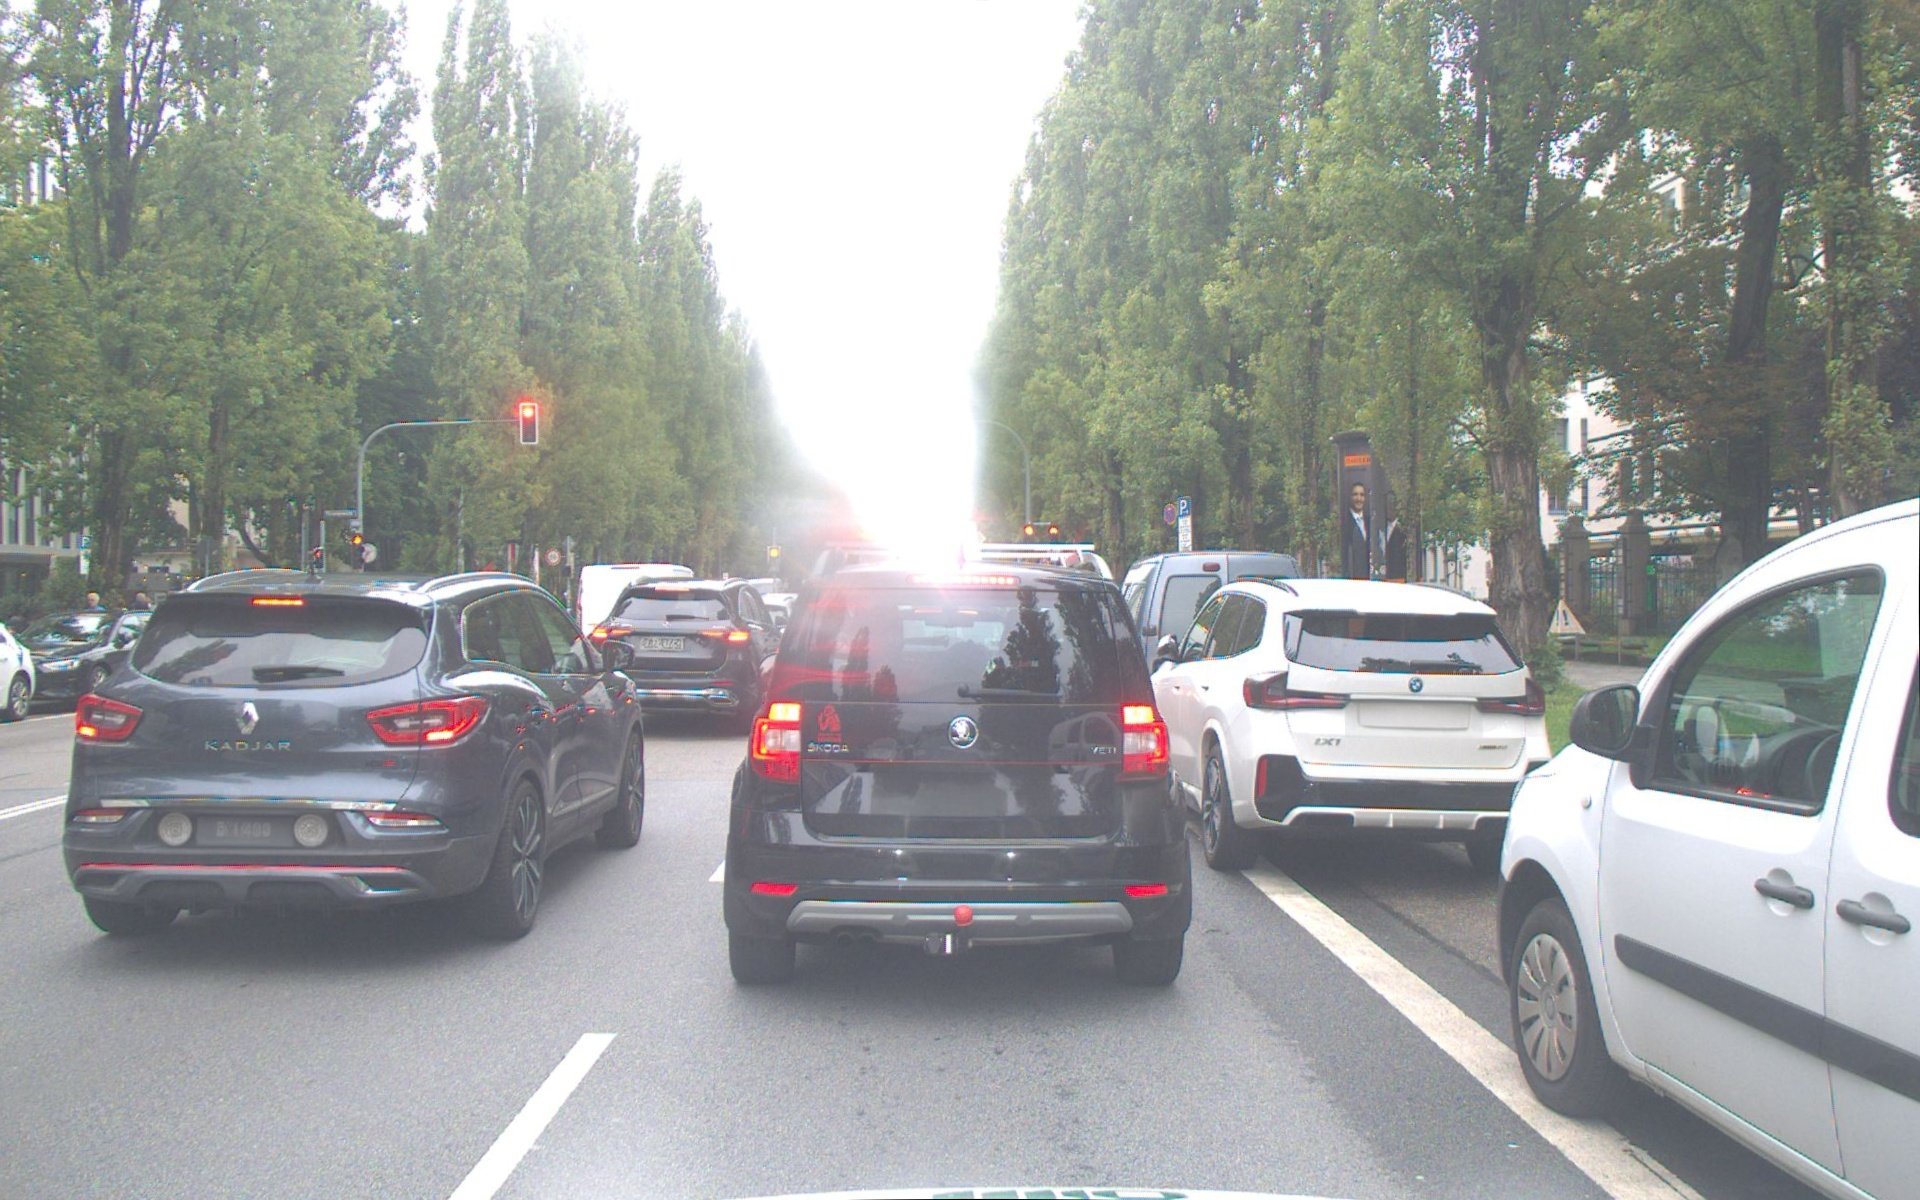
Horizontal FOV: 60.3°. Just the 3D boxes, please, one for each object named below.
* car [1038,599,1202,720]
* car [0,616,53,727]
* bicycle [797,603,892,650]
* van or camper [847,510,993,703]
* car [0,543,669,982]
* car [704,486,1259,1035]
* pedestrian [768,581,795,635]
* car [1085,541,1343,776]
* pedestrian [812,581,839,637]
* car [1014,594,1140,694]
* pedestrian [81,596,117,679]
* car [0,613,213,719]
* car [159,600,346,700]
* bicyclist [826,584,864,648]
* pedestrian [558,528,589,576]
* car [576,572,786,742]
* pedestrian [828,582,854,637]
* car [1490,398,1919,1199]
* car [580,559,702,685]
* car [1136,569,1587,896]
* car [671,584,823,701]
[{"bbox_3d":[2.024,0.713,21.761,1.700,1.411,3.561,-1,1,-2],"label":"car"},{"bbox_3d":[-13.113,0.974,20.526,1.591,1.413,4.163,-3,0,-4],"label":"car"},{"bbox_3d":[-3.180,0.735,45.735,2.481,1.259,0.813,-1,0,8],"label":"bicycle"},{"bbox_3d":[-0.650,0.066,24.332,1.936,2.593,4.022,-1,0,-3],"label":"van or camper"},{"bbox_3d":[-2.714,0.598,8.292,1.798,1.613,4.184,1,0,-1],"label":"car"},{"bbox_3d":[0.026,0.534,7.540,1.818,1.801,3.999,1,0,-2],"label":"car"},{"bbox_3d":[-6.911,0.303,64.092,0.867,2.049,1.013,-1,0,1],"label":"pedestrian"},{"bbox_3d":[2.256,0.462,15.692,1.700,1.928,4.023,-1,1,-2],"label":"car"},{"bbox_3d":[-4.960,0.325,61.189,0.867,2.049,1.013,-1,0,1],"label":"pedestrian"},{"bbox_3d":[1.850,0.665,27.059,1.700,1.501,3.561,-1,1,-2],"label":"car"},{"bbox_3d":[-16.403,0.707,31.506,0.455,1.555,0.395,-1,0,-1],"label":"pedestrian"},{"bbox_3d":[-13.401,0.973,26.024,1.591,1.413,4.163,-3,0,-4],"label":"car"},{"bbox_3d":[-13.535,0.890,31.971,1.813,1.683,4.692,-3,0,-4],"label":"car"},{"bbox_3d":[-3.171,0.443,45.723,0.886,1.752,0.825,-1,0,8],"label":"bicyclist"},{"bbox_3d":[-14.670,-1.830,62.795,0.861,1.795,0.879,-1,0,8],"label":"pedestrian"},{"bbox_3d":[-2.993,0.554,18.524,1.745,1.648,4.023,2,0,-2],"label":"car"},{"bbox_3d":[-4.478,0.338,62.364,0.867,2.049,1.013,-1,0,1],"label":"pedestrian"},{"bbox_3d":[2.727,0.562,3.355,1.814,1.914,4.166,-1,1,-3],"label":"car"},{"bbox_3d":[-5.814,0.370,30.551,1.746,2.148,4.021,-1,0,-5],"label":"car"},{"bbox_3d":[2.247,0.641,10.417,1.706,1.620,4.210,-1,1,-2],"label":"car"},{"bbox_3d":[-3.154,0.577,25.249,1.954,1.588,3.998,-1,1,-3],"label":"car"}]
